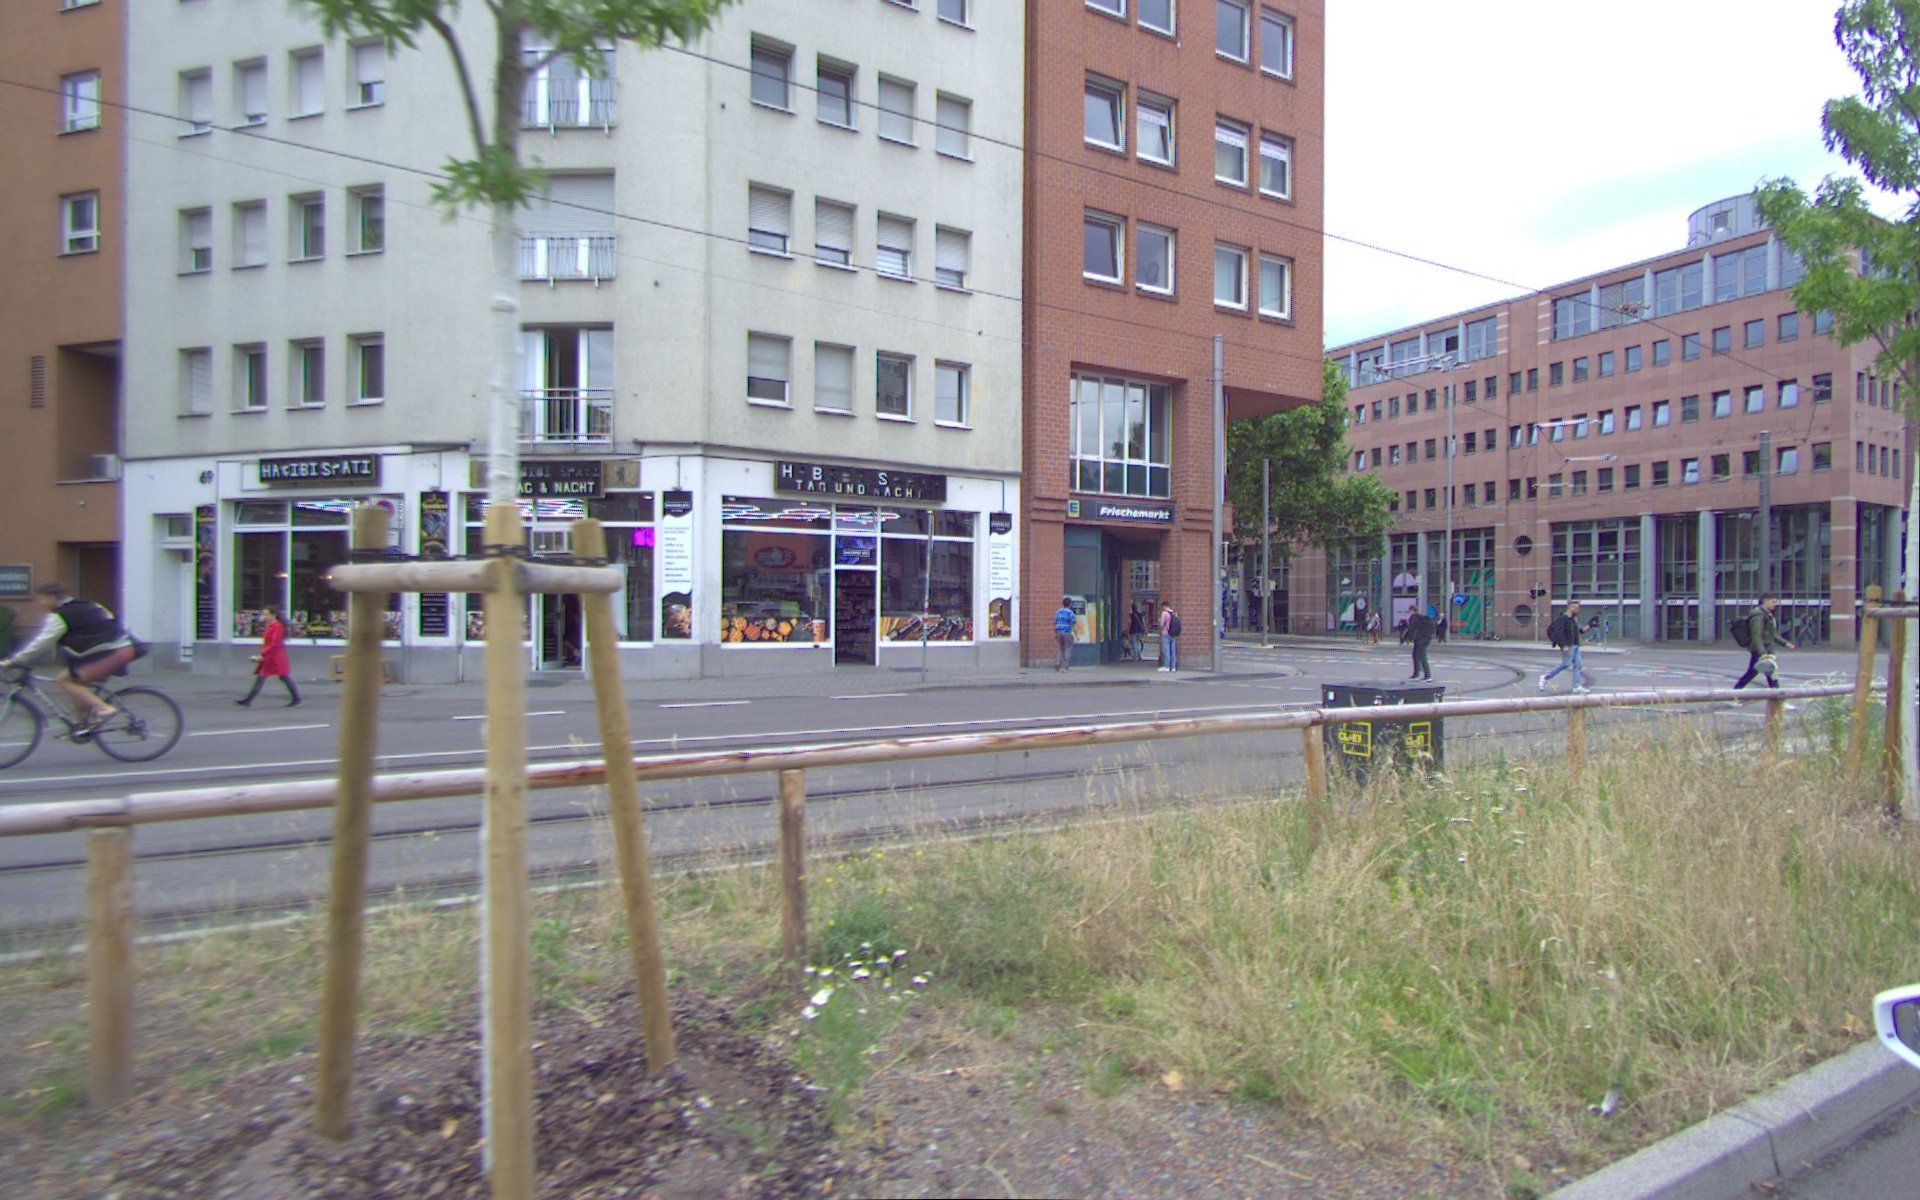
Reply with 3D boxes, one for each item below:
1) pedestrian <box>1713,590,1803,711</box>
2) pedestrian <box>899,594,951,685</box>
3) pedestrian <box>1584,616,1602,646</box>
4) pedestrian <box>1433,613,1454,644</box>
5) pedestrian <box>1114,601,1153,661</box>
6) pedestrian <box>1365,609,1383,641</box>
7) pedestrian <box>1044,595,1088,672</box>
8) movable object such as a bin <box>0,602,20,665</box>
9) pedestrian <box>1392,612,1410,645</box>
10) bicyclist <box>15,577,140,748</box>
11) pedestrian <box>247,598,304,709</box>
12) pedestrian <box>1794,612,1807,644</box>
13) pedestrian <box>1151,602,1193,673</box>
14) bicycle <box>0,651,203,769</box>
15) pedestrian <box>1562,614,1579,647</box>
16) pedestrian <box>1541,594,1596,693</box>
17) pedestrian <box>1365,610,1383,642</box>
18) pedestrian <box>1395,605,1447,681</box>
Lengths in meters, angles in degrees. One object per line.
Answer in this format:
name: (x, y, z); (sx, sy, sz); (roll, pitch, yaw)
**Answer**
pedestrian: (13.185, 0.812, 16.609); (0.790, 1.915, 0.892); (2, 1, -31)
pedestrian: (-0.664, 0.751, 19.301); (0.717, 1.709, 0.654); (2, -1, -42)
pedestrian: (34.172, 1.685, 54.219); (0.732, 1.581, 0.572); (2, 0, 38)
pedestrian: (24.653, 1.454, 51.227); (0.734, 1.581, 0.571); (2, 0, -24)
pedestrian: (5.097, 0.902, 29.559); (0.791, 1.706, 0.739); (1, 1, -34)
pedestrian: (21.472, 1.292, 52.094); (0.624, 1.633, 0.568); (2, 0, -37)
pedestrian: (2.400, 0.764, 22.771); (0.716, 1.709, 0.655); (2, -1, -38)
movable object such as a bin: (-22.428, 0.753, 22.853); (1.214, 1.424, 1.011); (1, 1, 12)
pedestrian: (22.013, 1.435, 50.147); (0.624, 1.595, 0.568); (2, 0, -37)
bicyclist: (-8.396, 0.579, 9.586); (0.802, 1.561, 0.488); (1, -1, -31)
pedestrian: (-10.964, 0.843, 16.081); (0.657, 1.709, 0.714); (2, -1, -39)
pedestrian: (41.190, 1.379, 49.203); (0.444, 1.552, 0.519); (2, 1, 43)
pedestrian: (5.243, 0.928, 24.822); (0.791, 1.706, 0.565); (1, 1, -34)
bicycle: (-8.439, 1.022, 9.578); (1.890, 1.034, 0.474); (1, -1, -31)
pedestrian: (32.876, 1.635, 54.081); (0.732, 1.710, 0.572); (2, 0, 35)
pedestrian: (12.062, 0.858, 19.907); (0.790, 1.915, 0.607); (2, 0, -32)
pedestrian: (21.133, 1.331, 51.301); (0.624, 1.633, 0.568); (2, 0, -37)
pedestrian: (10.648, 0.982, 23.190); (0.791, 1.706, 0.739); (1, 1, -34)
